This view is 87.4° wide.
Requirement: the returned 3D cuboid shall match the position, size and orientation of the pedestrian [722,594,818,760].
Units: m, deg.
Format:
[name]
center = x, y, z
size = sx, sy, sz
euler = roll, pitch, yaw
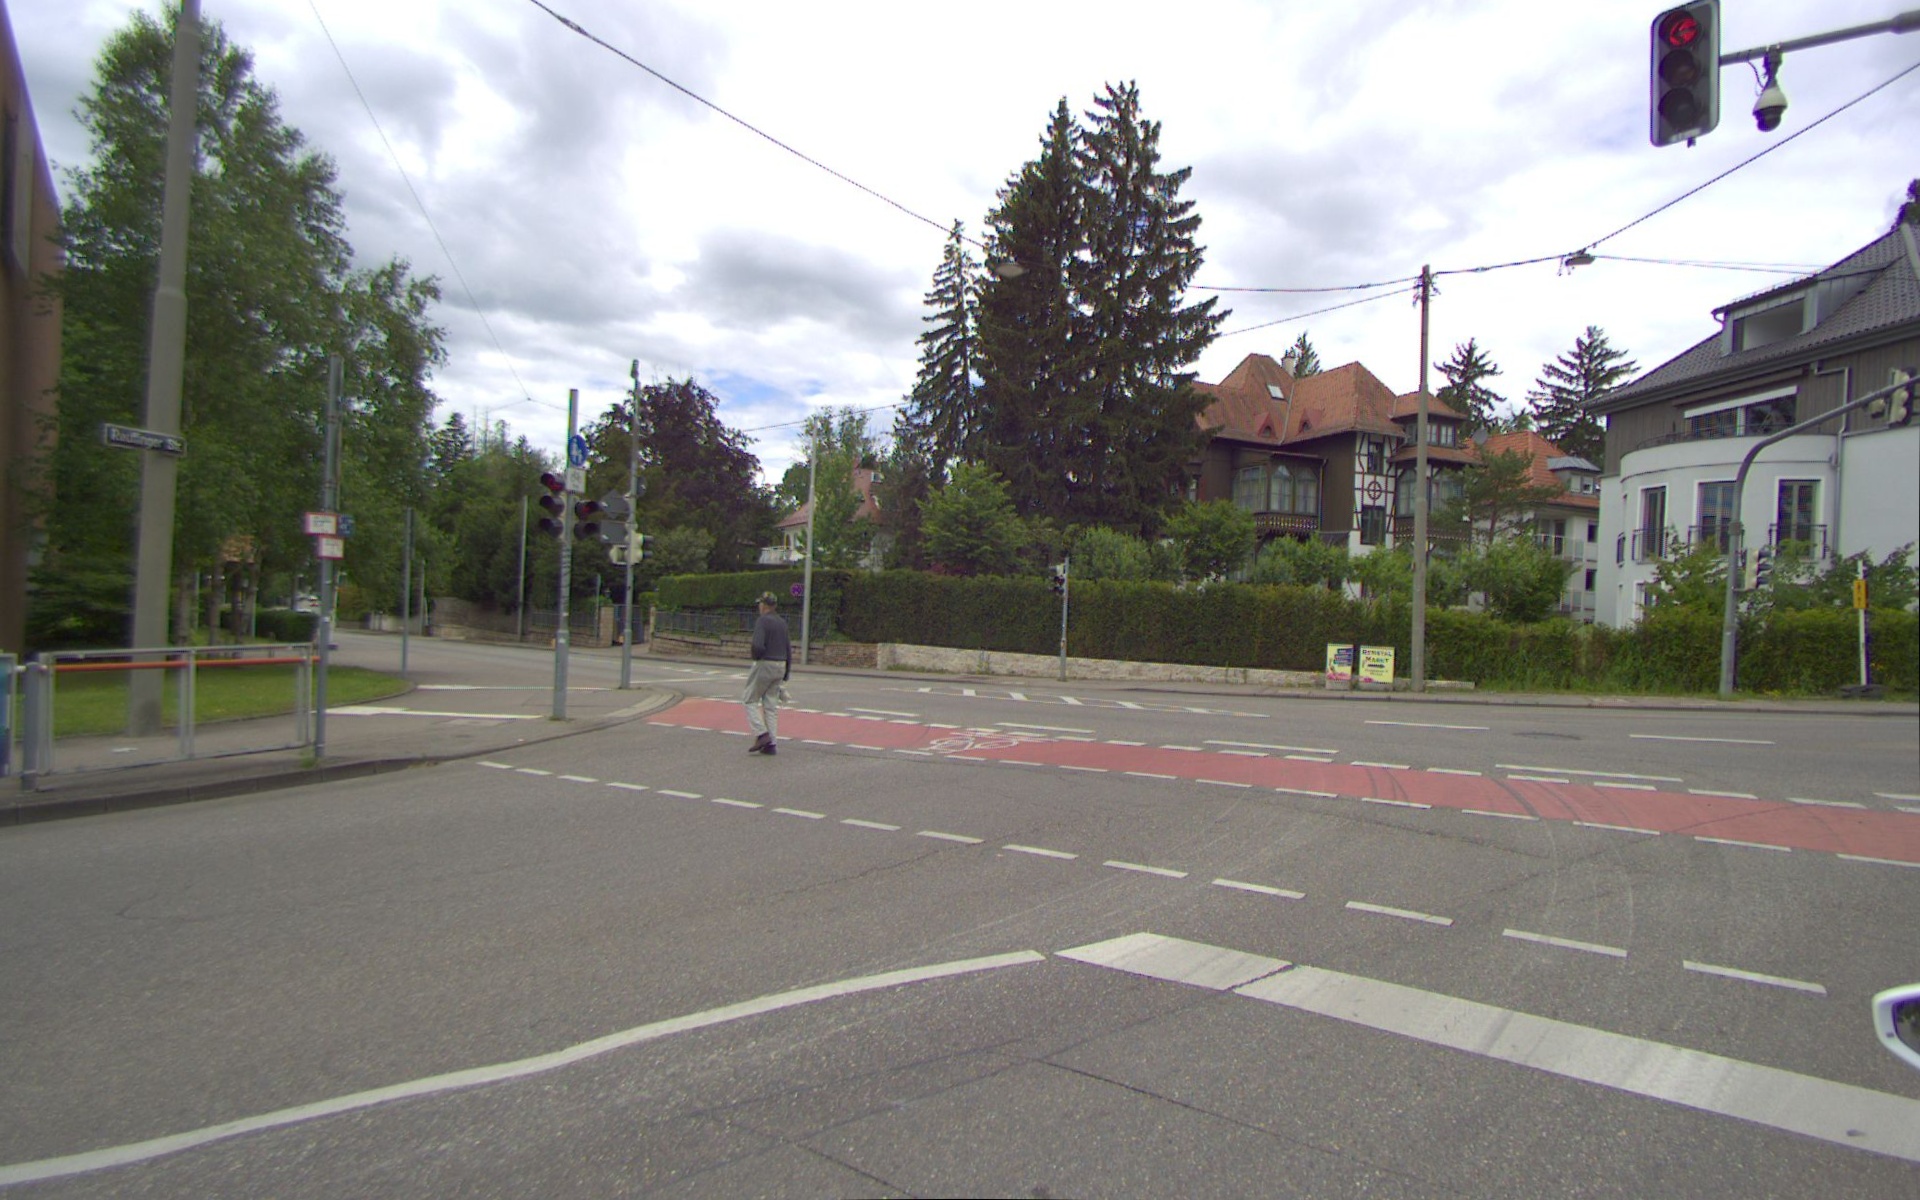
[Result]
[pedestrian]
center = -1.971, 0.774, 10.464
size = 0.726, 1.655, 0.683
euler = -1, -1, 22
